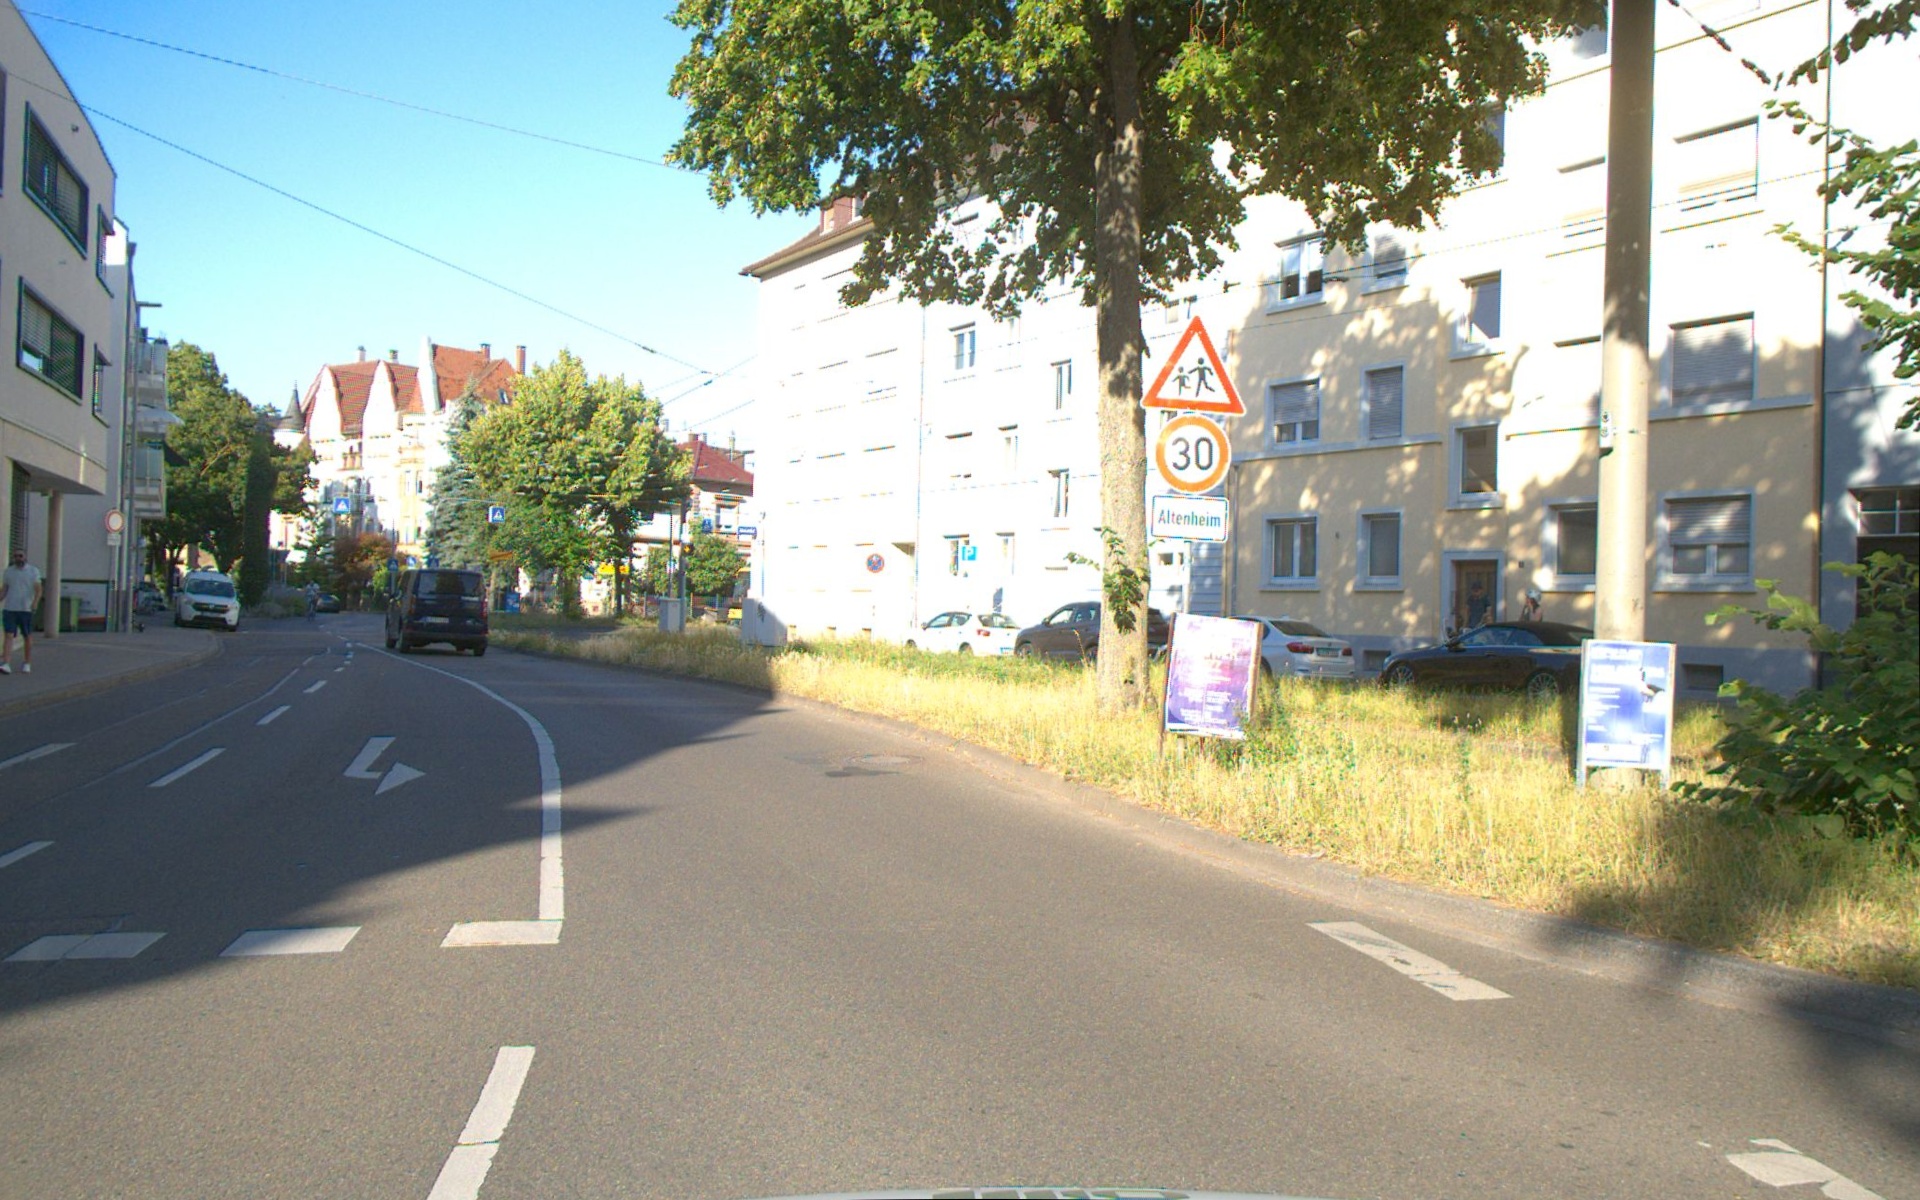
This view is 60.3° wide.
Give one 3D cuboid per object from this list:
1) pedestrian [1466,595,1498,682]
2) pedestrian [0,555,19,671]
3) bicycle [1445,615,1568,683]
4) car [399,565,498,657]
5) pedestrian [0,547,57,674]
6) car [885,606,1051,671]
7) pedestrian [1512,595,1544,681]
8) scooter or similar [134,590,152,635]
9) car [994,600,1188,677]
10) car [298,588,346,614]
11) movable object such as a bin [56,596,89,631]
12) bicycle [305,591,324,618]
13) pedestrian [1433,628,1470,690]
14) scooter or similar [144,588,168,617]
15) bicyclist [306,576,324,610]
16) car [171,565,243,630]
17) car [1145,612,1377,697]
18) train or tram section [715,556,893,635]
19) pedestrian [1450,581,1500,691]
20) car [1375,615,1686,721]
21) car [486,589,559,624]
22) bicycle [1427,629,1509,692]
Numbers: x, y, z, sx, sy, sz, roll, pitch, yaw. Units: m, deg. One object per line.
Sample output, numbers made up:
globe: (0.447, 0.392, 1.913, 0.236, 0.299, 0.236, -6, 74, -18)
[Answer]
pedestrian: (9.417, 0.689, 29.823, 0.329, 1.541, 0.437, 1, 0, -36)
pedestrian: (-14.836, 0.184, 25.143, 0.691, 1.744, 0.838, 2, -1, -19)
bicycle: (9.725, 0.853, 29.530, 0.529, 1.151, 2.282, 1, -1, -32)
car: (-12.413, 0.237, 40.014, 1.965, 2.049, 3.975, 2, 0, -21)
pedestrian: (-14.290, 0.158, 25.307, 0.596, 1.881, 0.987, 2, -1, -19)
car: (0.132, 0.924, 41.281, 1.977, 1.410, 4.391, 1, 1, -35)
pedestrian: (10.212, 0.678, 29.739, 0.302, 1.541, 0.437, 1, 0, -40)
scooter or similar: (-22.647, 0.342, 45.821, 0.400, 1.196, 0.938, 1, 1, -28)
car: (2.832, 0.808, 36.830, 1.975, 1.599, 4.589, 1, -1, -32)
car: (-41.768, 0.062, 108.198, 1.977, 1.624, 3.950, 3, -1, -35)
movable object such as a bin: (-23.392, 0.361, 43.590, 0.537, 0.917, 0.530, 2, -1, -3)
bicycle: (-26.486, 0.179, 67.899, 0.614, 1.100, 1.769, 1, -1, -25)
pedestrian: (8.761, 1.044, 29.493, 0.427, 1.084, 0.456, 2, -1, -32)
scooter or similar: (-34.921, 0.100, 71.795, 0.505, 1.251, 1.517, 3, -2, -41)
bicyclist: (-26.472, -0.284, 67.874, 0.614, 1.404, 0.795, 1, -1, -25)
car: (-24.320, -0.082, 53.335, 1.790, 1.902, 4.293, 4, -2, -28)
car: (5.726, 0.998, 31.988, 1.975, 1.410, 4.397, 1, 1, -32)
train or tram section: (-7.445, -0.140, 80.846, 2.730, 3.618, 9.878, 1, 0, 37)
pedestrian: (9.733, 0.669, 31.260, 0.606, 2.049, 0.642, 2, -1, -32)
car: (8.913, 1.008, 26.185, 1.975, 1.410, 4.397, 1, 1, -32)
car: (-19.530, 0.269, 73.949, 1.917, 1.531, 3.688, 0, 0, 7)
bicycle: (9.575, 1.124, 31.225, 0.529, 1.151, 1.499, 1, -1, -32)
